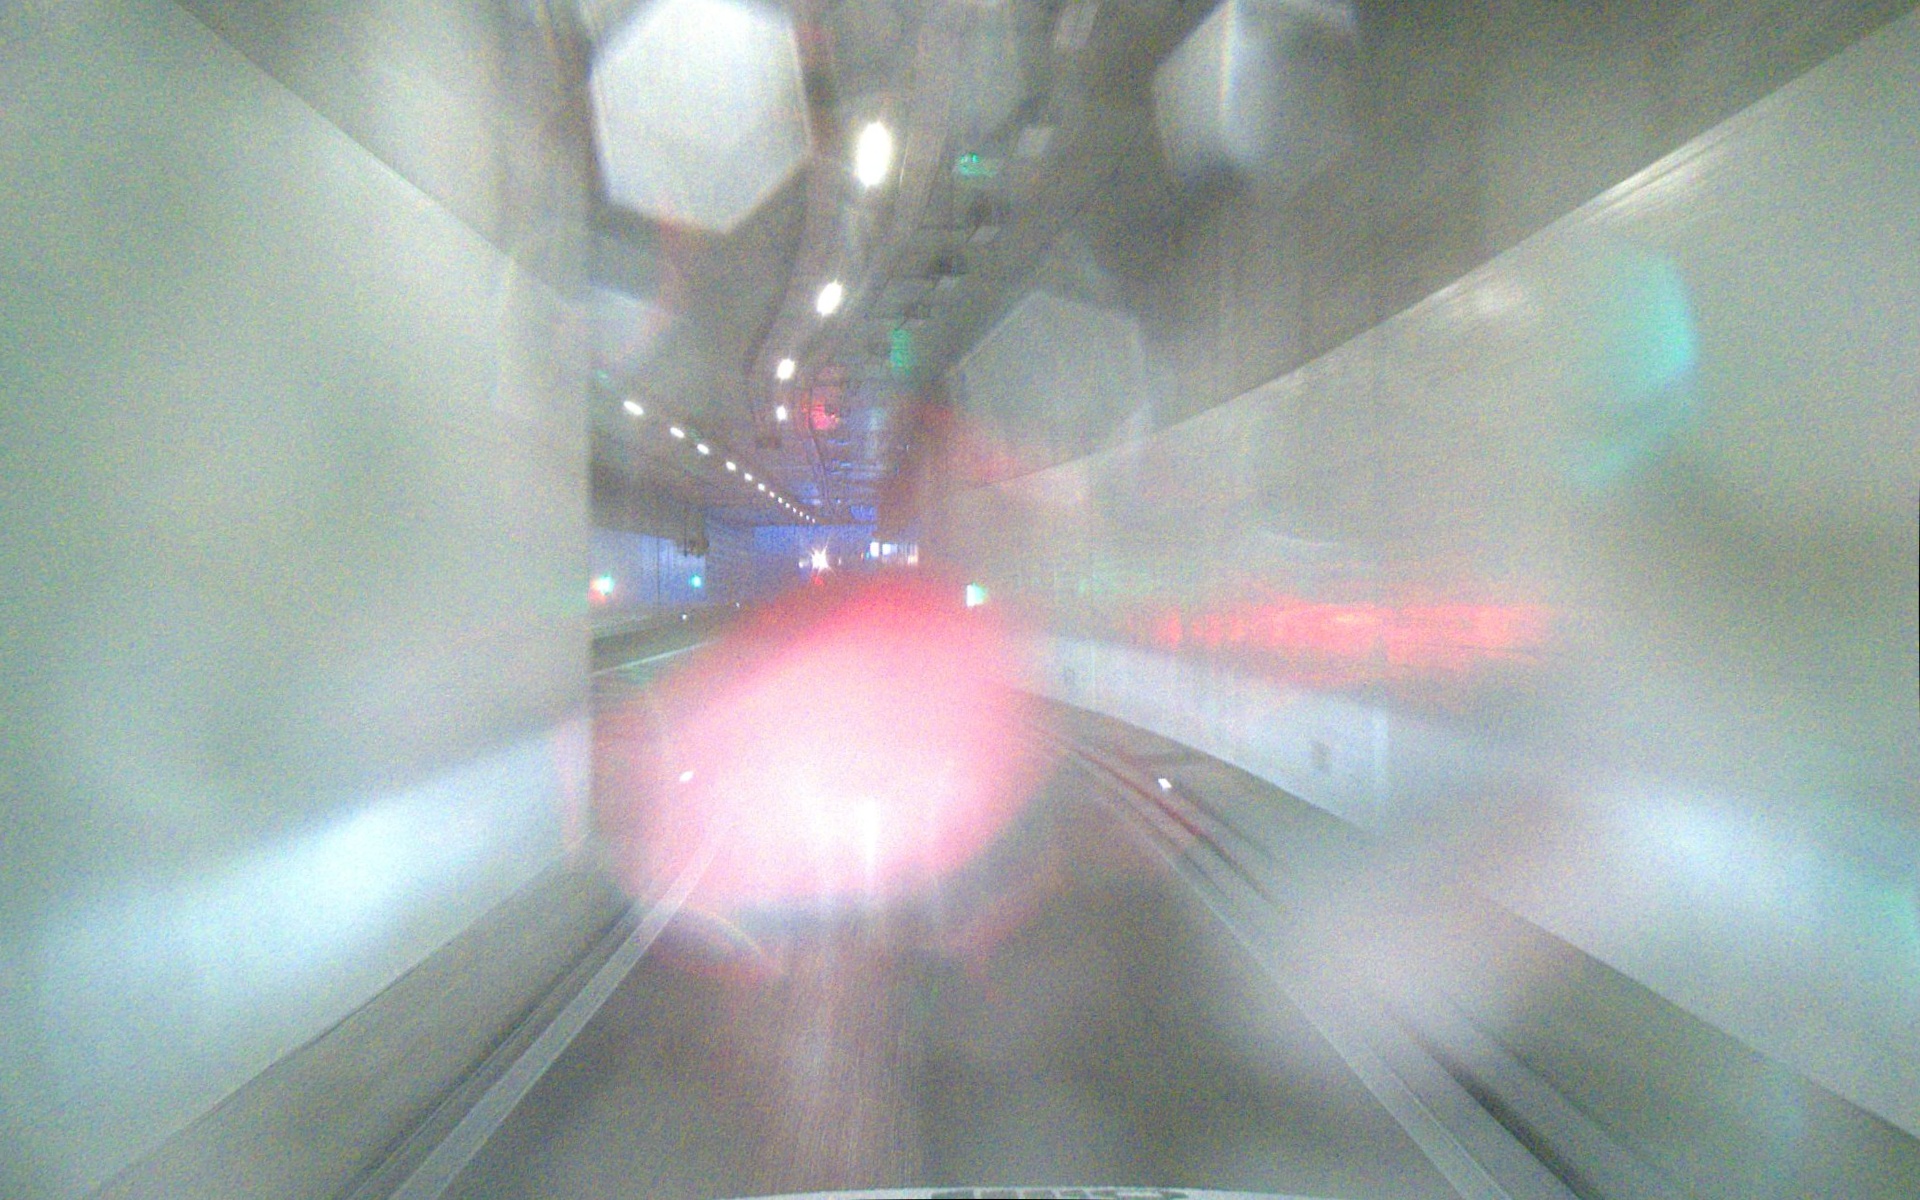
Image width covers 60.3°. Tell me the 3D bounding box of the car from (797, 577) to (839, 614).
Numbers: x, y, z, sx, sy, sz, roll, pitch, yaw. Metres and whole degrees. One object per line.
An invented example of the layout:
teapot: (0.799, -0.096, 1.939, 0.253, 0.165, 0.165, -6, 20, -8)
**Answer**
car: (-6.696, -0.191, 77.720, 1.844, 1.649, 3.994, 1, -1, -6)

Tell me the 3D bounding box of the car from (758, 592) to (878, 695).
car: (-2.165, 0.598, 24.624, 1.504, 1.422, 3.426, 0, 0, -10)
